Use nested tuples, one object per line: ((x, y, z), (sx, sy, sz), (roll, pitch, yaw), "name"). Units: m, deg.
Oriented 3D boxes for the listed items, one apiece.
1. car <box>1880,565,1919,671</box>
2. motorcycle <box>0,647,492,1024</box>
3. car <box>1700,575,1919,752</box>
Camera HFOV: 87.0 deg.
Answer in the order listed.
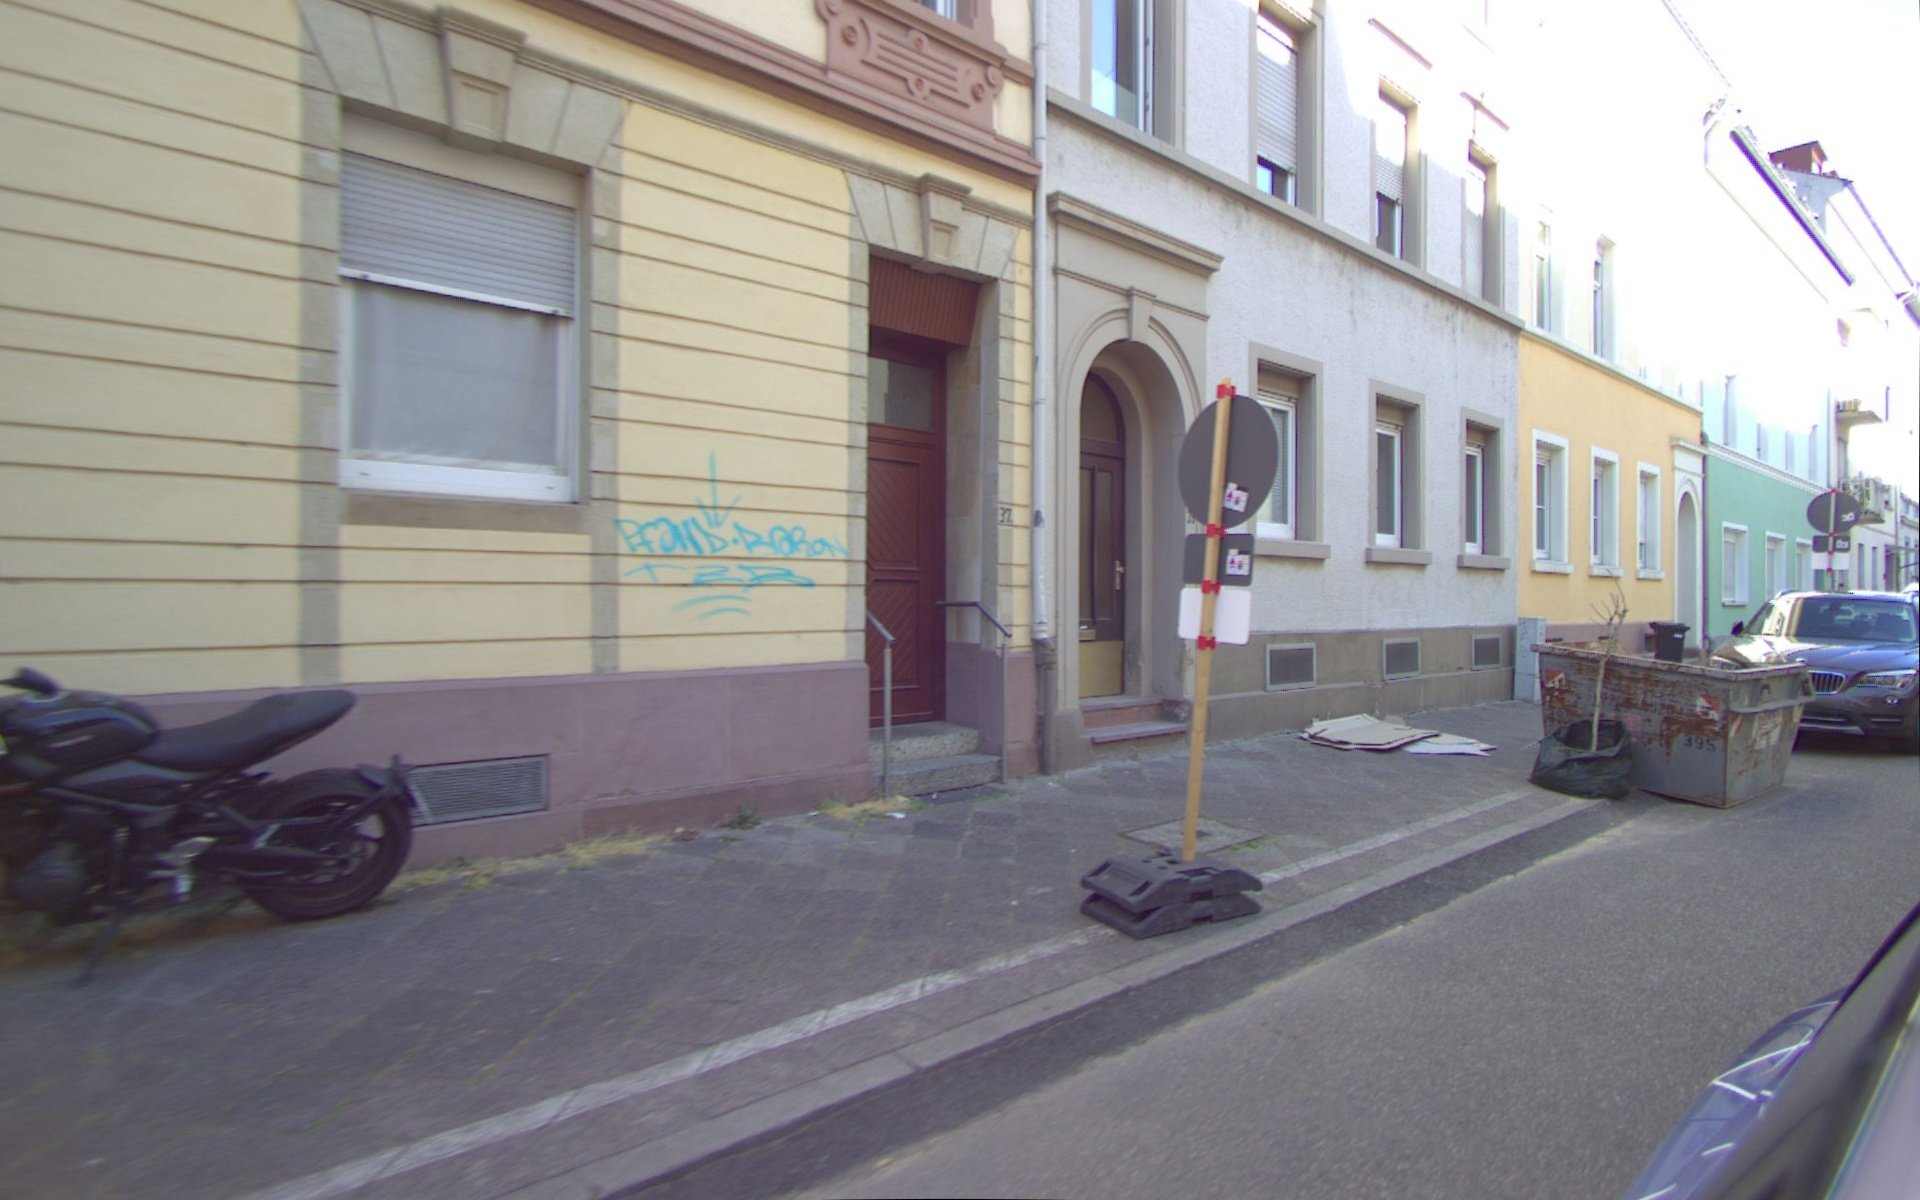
((19.279, 0.275, 19.395), (4.380, 1.910, 1.897), (-2, 1, -40), "car")
((-2.963, 0.767, 3.539), (2.323, 1.057, 0.637), (-2, 1, -42), "motorcycle")
((9.591, 0.527, 10.904), (3.980, 1.562, 1.743), (-2, 1, -40), "car")
